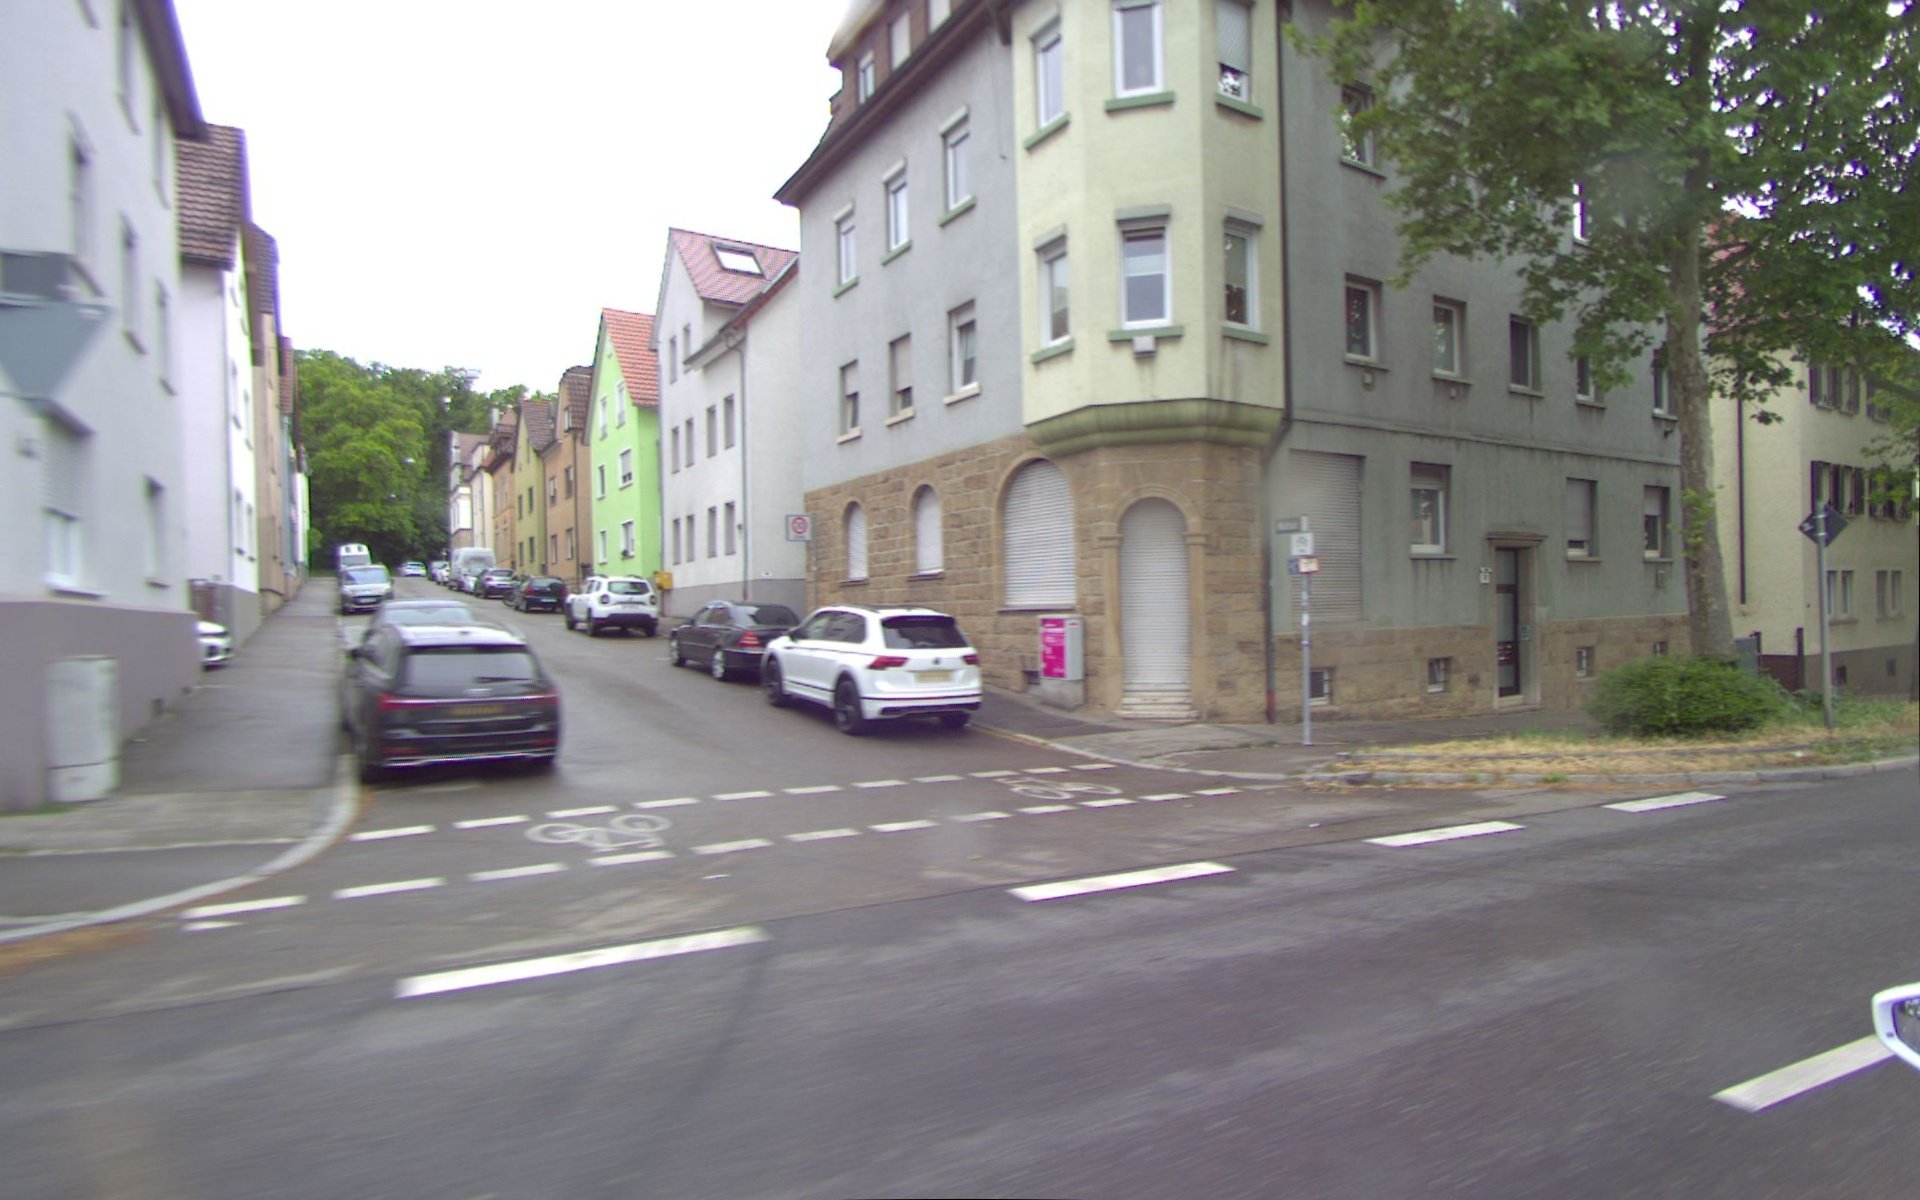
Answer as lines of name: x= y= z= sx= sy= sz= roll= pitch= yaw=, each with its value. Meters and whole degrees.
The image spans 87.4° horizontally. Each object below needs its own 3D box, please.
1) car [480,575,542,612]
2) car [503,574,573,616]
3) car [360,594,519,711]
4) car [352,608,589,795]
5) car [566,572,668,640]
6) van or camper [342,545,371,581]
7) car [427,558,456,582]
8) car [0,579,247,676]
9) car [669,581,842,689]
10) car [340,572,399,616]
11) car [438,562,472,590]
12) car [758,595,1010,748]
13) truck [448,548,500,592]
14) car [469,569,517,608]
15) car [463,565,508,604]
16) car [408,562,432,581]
car: x=-19.195 y=-0.307 z=42.825 sx=1.813 sy=1.427 sz=4.158 roll=0 pitch=2 yaw=-33
car: x=-16.290 y=-0.217 z=38.682 sx=1.813 sy=1.427 sz=4.158 roll=0 pitch=2 yaw=-33
car: x=-8.406 y=0.721 z=16.038 sx=1.952 sy=1.473 sz=3.964 roll=0 pitch=2 yaw=-32
car: x=-5.563 y=0.927 z=11.127 sx=1.978 sy=1.473 sz=3.964 roll=0 pitch=2 yaw=-32
car: x=-9.892 y=0.125 z=28.780 sx=1.813 sy=1.727 sz=4.158 roll=0 pitch=2 yaw=-33
van or camper: x=-46.364 y=-2.827 z=77.227 sx=1.812 sy=2.643 sz=4.624 roll=0 pitch=2 yaw=-31
car: x=-39.987 y=-2.324 z=77.429 sx=1.811 sy=1.727 sz=4.161 roll=1 pitch=2 yaw=-30
car: x=-14.912 y=0.455 z=17.451 sx=3.954 sy=1.541 sz=1.788 roll=1 pitch=1 yaw=-31
car: x=-4.040 y=0.571 z=19.296 sx=1.977 sy=1.727 sz=4.160 roll=0 pitch=2 yaw=-31
car: x=-22.388 y=-0.255 z=38.118 sx=1.812 sy=1.487 sz=3.995 roll=1 pitch=2 yaw=-31
car: x=-33.955 y=-1.631 z=67.523 sx=1.811 sy=1.727 sz=4.161 roll=1 pitch=2 yaw=-30
car: x=-1.263 y=0.872 z=14.545 sx=1.977 sy=1.727 sz=4.160 roll=0 pitch=2 yaw=-31
truck: x=-28.767 y=-1.833 z=59.320 sx=2.222 sy=2.398 sz=7.441 roll=0 pitch=2 yaw=-30
car: x=-23.061 y=-0.589 z=49.538 sx=1.811 sy=1.727 sz=4.161 roll=1 pitch=2 yaw=-30
car: x=-25.447 y=-0.863 z=53.808 sx=1.811 sy=1.924 sz=4.161 roll=0 pitch=2 yaw=-30
car: x=-49.932 y=-2.650 z=92.885 sx=1.811 sy=1.727 sz=4.161 roll=1 pitch=2 yaw=-30
